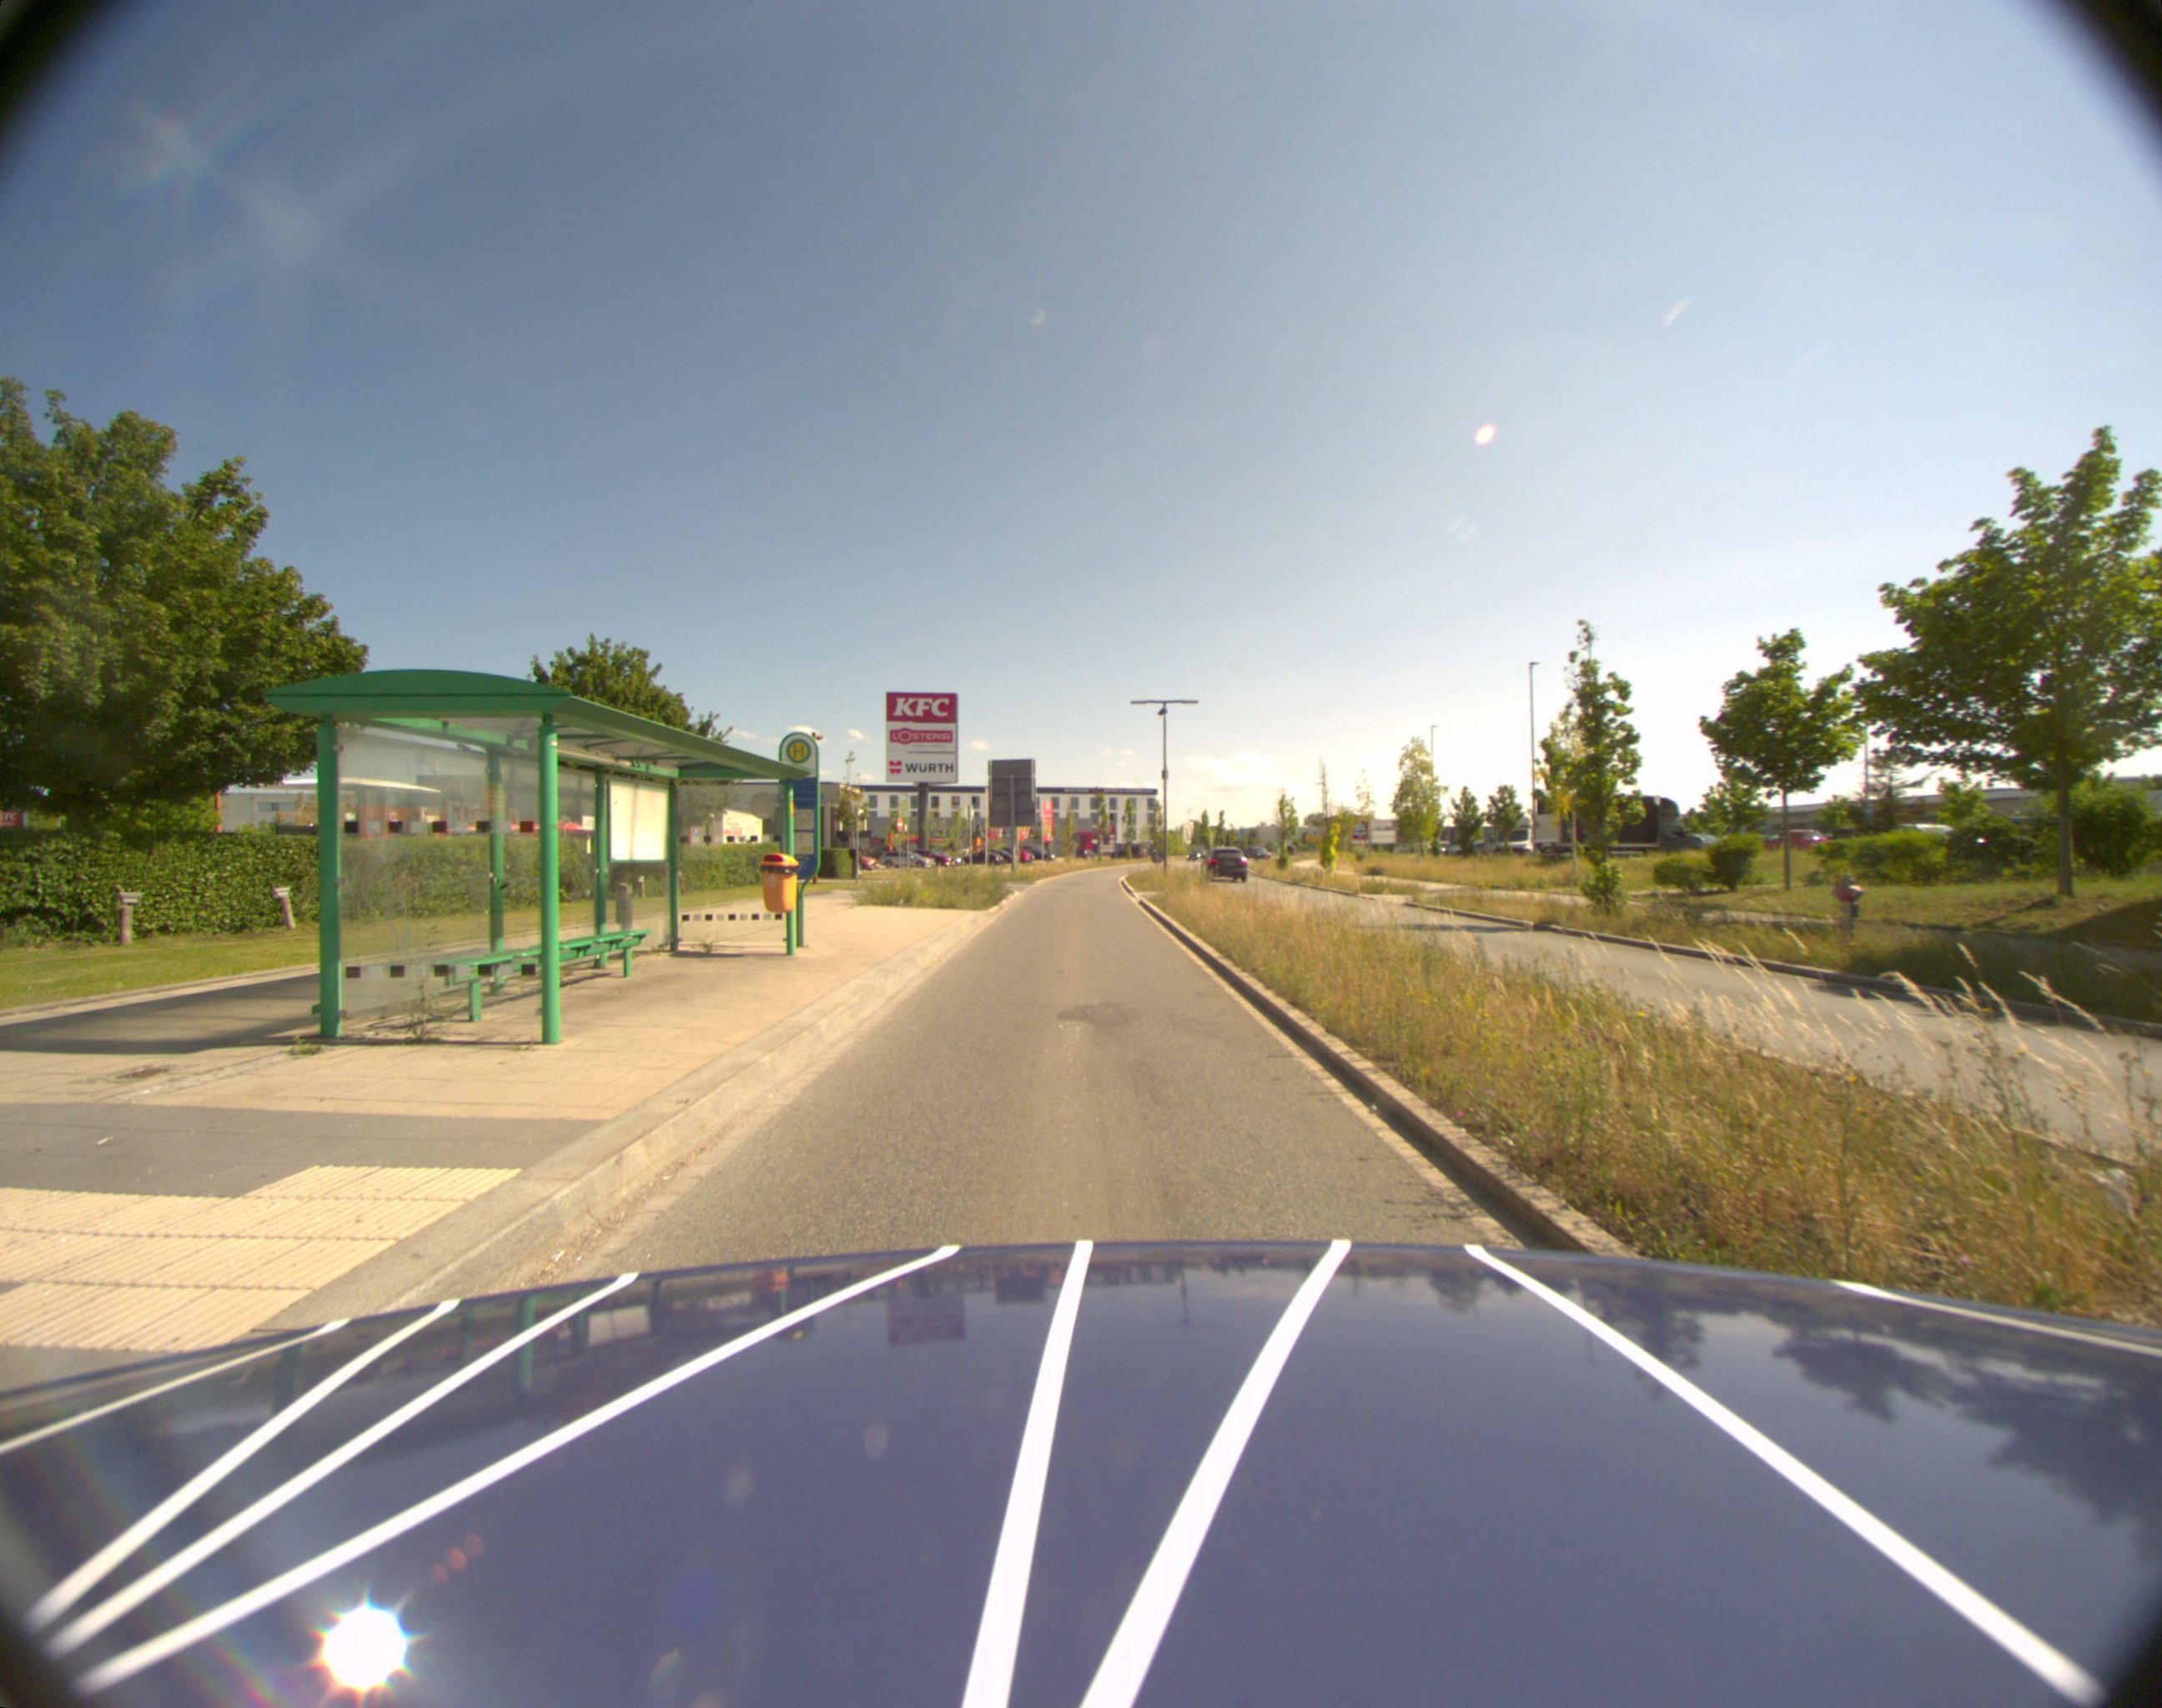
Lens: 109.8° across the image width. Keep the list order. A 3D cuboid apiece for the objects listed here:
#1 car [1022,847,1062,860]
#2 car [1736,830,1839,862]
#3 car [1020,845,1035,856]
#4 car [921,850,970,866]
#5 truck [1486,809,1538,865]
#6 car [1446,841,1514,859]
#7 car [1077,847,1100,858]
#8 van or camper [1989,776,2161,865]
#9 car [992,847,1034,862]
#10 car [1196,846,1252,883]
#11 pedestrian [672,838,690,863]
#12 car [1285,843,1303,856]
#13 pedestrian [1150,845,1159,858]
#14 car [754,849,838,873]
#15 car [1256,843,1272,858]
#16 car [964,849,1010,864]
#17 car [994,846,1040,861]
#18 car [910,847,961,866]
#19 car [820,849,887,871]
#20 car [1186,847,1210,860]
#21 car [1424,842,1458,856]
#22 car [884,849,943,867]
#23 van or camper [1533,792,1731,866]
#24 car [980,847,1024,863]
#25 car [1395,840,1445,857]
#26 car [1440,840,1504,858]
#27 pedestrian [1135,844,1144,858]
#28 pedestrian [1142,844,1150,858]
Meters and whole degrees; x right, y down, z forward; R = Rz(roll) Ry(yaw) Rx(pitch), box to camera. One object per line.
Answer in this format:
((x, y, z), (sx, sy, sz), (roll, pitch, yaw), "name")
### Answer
((-4.726, -0.092, 92.673), (4.411, 1.557, 1.998), (1, 0, 17), "car")
((40.481, -0.449, 43.707), (1.837, 1.763, 4.381), (-1, 1, 0), "car")
((-8.847, -0.625, 124.981), (2.049, 1.805, 4.920), (0, 0, -8), "car")
((-12.704, 0.360, 71.512), (4.161, 1.441, 1.792), (1, 0, 9), "car")
((28.707, -1.073, 50.506), (2.317, 3.444, 7.509), (0, 1, 35), "truck")
((31.144, -0.293, 59.424), (4.429, 1.375, 1.978), (0, 1, 16), "car")
((1.035, -0.204, 104.612), (1.781, 1.531, 4.175), (0, 1, 23), "car")
((41.106, -1.260, 29.773), (2.436, 3.252, 7.235), (-1, 1, 1), "van or camper")
((-7.724, 0.051, 86.129), (4.410, 1.724, 1.794), (1, 0, 19), "car")
((6.597, 0.447, 35.404), (1.763, 1.534, 4.240), (2, 1, 0), "car")
((-31.898, -0.287, 60.564), (0.915, 2.002, 0.891), (0, 1, 4), "pedestrian")
((30.222, -0.660, 107.783), (1.953, 1.784, 4.433), (1, 0, 21), "car")
((8.928, -0.316, 91.881), (0.793, 1.461, 0.950), (-1, 1, 22), "pedestrian")
((-17.730, 0.431, 47.401), (4.534, 1.481, 1.870), (0, 0, 8), "car")
((21.965, -0.398, 91.098), (1.754, 1.678, 4.386), (0, 0, 16), "car")
((-9.764, 0.273, 78.921), (4.411, 1.441, 1.794), (1, 0, 18), "car")
((-7.522, -0.094, 89.399), (4.988, 1.724, 1.942), (1, 0, 17), "car")
((-13.221, 0.257, 69.030), (4.159, 1.655, 1.871), (1, 0, 15), "car")
((-16.398, 0.414, 54.806), (4.212, 1.481, 1.870), (0, 0, 8), "car")
((13.617, -0.092, 88.354), (1.783, 1.485, 4.006), (-1, 1, 23), "car")
((50.354, -0.675, 106.423), (4.148, 1.850, 1.935), (0, 0, 20), "car")
((-14.203, 0.352, 64.467), (4.562, 1.481, 1.870), (1, 0, 12), "car")
((27.172, -1.191, 37.781), (7.707, 3.448, 2.556), (-1, 1, 6), "van or camper")
((-8.667, 0.085, 83.130), (4.410, 1.724, 1.794), (1, 0, 19), "car")
((36.336, -0.594, 81.455), (4.765, 1.633, 2.120), (-1, -1, 25), "car")
((33.046, -0.387, 64.301), (4.581, 1.450, 1.840), (0, 1, 16), "car")
((7.104, -0.351, 92.317), (0.809, 1.619, 0.867), (-1, 1, 22), "pedestrian")
((7.837, -0.369, 91.697), (0.801, 1.620, 0.806), (-1, 1, 22), "pedestrian")
